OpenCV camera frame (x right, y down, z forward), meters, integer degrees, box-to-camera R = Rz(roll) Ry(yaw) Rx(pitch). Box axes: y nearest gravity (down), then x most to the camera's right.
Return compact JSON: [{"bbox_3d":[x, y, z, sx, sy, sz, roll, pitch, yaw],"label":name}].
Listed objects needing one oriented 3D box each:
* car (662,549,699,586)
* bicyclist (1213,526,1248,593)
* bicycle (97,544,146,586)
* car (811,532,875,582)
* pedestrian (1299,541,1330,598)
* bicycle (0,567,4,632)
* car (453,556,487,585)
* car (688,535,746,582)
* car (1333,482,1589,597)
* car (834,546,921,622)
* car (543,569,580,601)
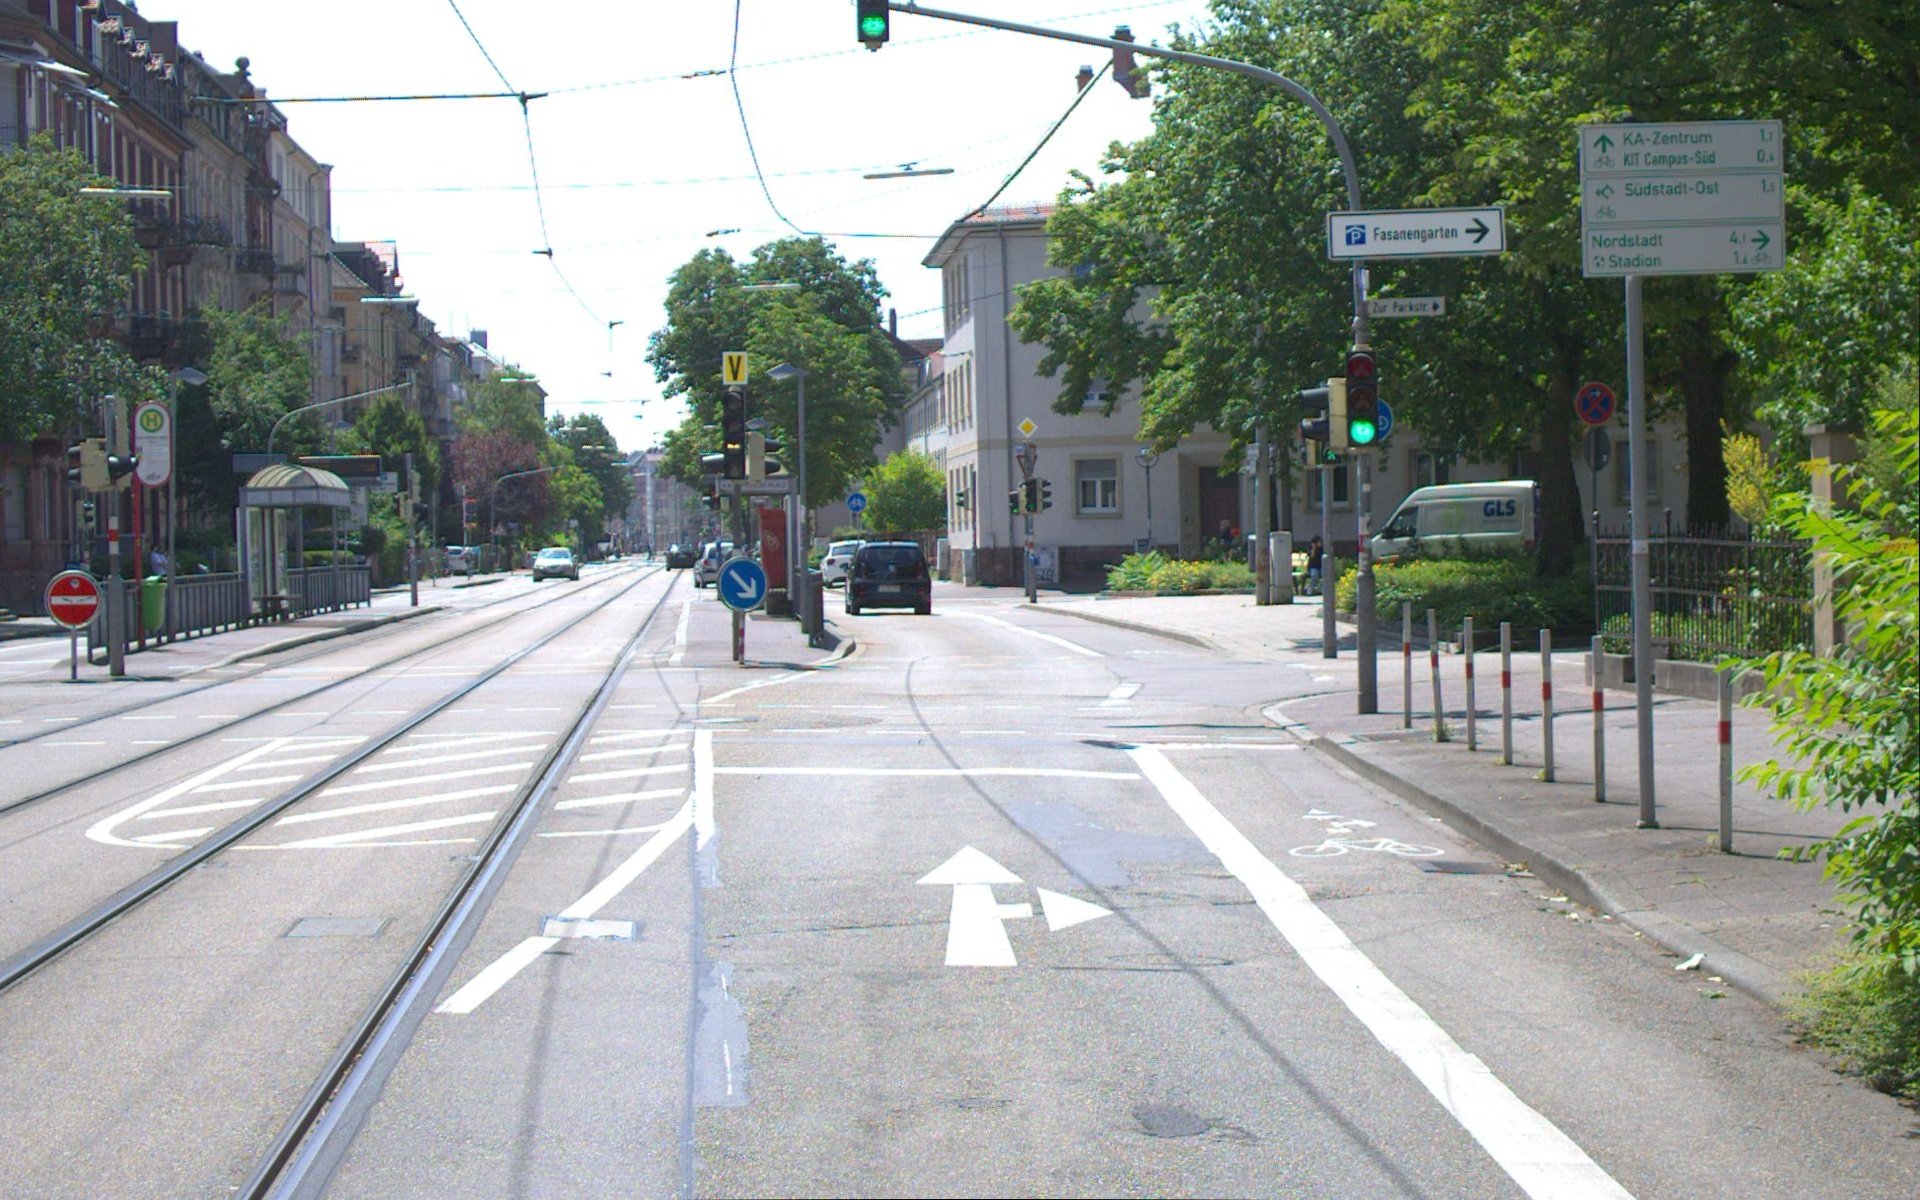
[{"bbox_3d":[-15.491,-1.780,190.570,2.046,2.007,4.607,0,0,-5],"label":"car"},{"bbox_3d":[6.683,-0.995,84.954,0.694,1.640,0.579,0,0,29],"label":"bicyclist"},{"bbox_3d":[-23.645,-0.980,96.931,0.364,1.165,1.516,2,1,32],"label":"bicycle"},{"bbox_3d":[-3.800,-1.369,111.205,1.747,1.468,3.939,-4,1,-5],"label":"car"},{"bbox_3d":[6.961,-0.608,67.515,0.509,1.088,0.478,-2,2,1],"label":"pedestrian"},{"bbox_3d":[-17.351,0.008,60.554,0.628,1.153,1.978,0,1,-5],"label":"bicycle"},{"bbox_3d":[-26.823,-1.622,188.268,1.684,1.468,3.939,-4,1,-7],"label":"car"},{"bbox_3d":[-7.981,-1.344,112.645,1.524,1.451,3.365,-2,0,-10],"label":"car"},{"bbox_3d":[11.541,-1.381,79.524,1.995,2.581,5.847,-2,1,-44],"label":"car"},{"bbox_3d":[-1.686,-0.327,69.546,1.524,1.439,3.365,-2,0,-5],"label":"car"},{"bbox_3d":[-17.039,-0.646,147.141,1.540,1.334,3.720,0,0,-6],"label":"car"}]
